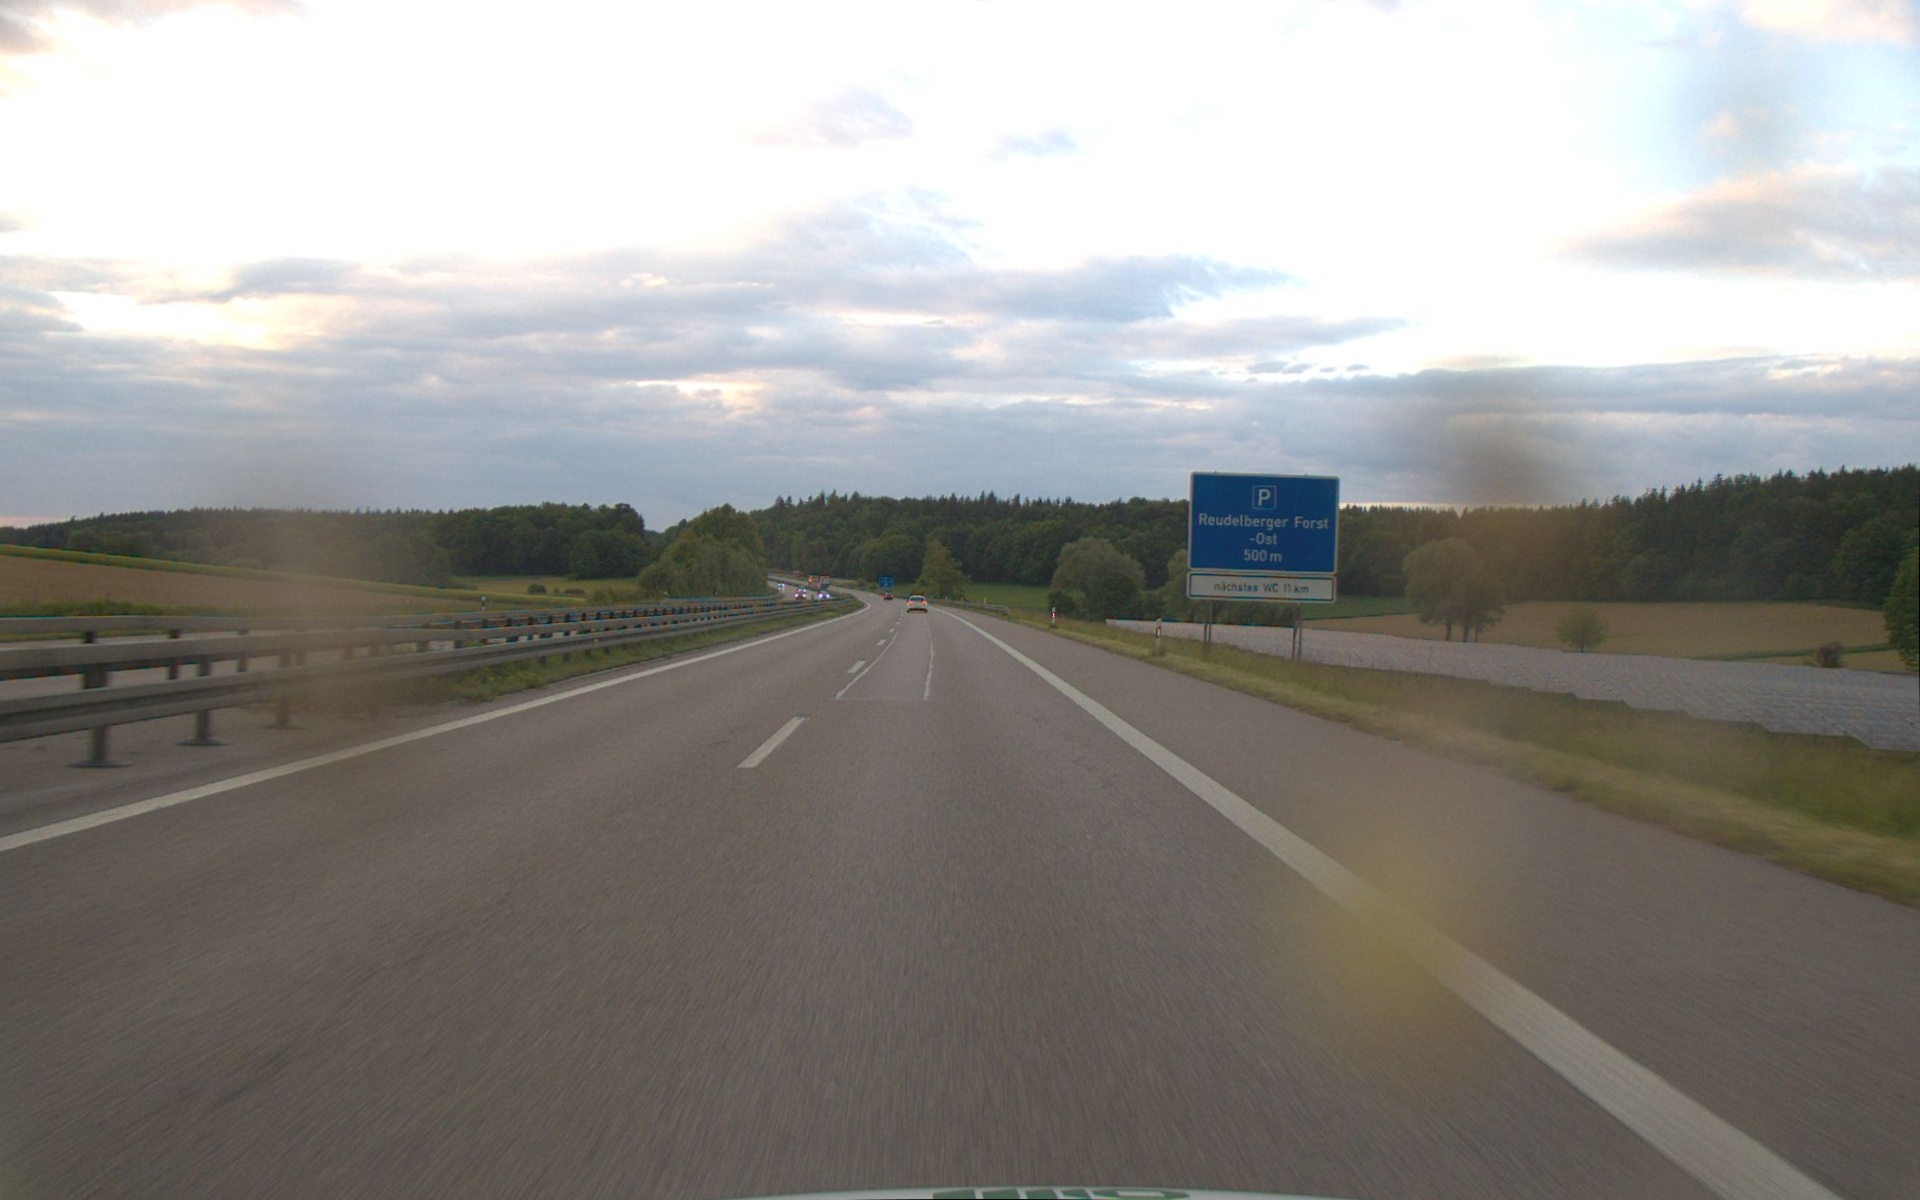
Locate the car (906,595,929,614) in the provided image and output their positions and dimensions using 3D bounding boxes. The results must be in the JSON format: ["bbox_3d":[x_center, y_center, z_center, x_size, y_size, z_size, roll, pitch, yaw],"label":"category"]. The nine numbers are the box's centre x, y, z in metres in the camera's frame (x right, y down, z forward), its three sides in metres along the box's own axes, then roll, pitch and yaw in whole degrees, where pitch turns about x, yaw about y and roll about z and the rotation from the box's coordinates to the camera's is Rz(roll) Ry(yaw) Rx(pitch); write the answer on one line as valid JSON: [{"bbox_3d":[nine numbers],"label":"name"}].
[{"bbox_3d":[-3.779,0.402,146.983,1.913,1.558,4.078,3,1,-3],"label":"car"}]
